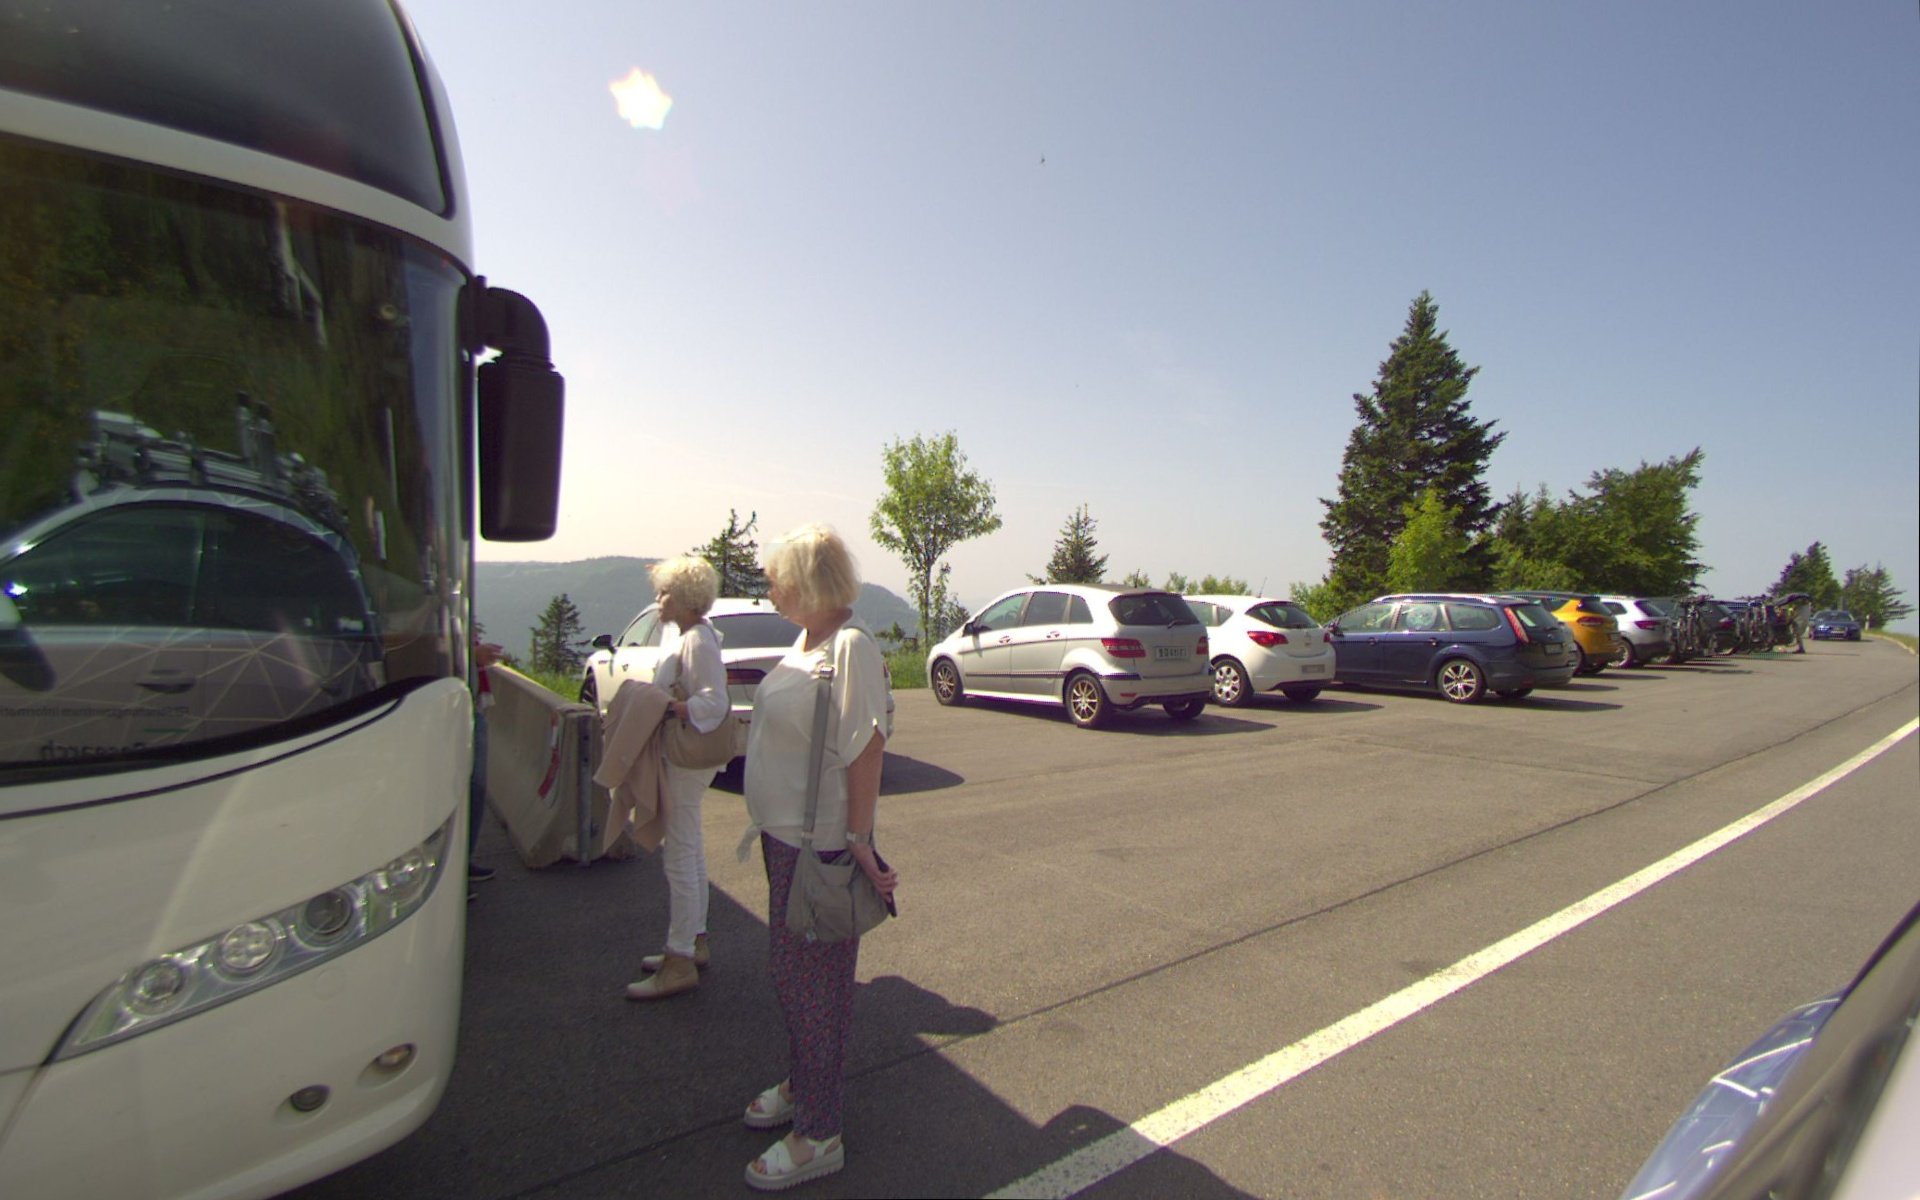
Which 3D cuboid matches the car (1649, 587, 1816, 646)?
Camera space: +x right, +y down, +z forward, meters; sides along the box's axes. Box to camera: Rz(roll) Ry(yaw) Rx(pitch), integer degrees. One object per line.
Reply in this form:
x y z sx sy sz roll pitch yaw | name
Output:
26.265 0.510 34.502 1.967 1.845 4.315 1 0 -44 | car

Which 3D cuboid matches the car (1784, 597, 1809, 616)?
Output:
94.257 0.666 114.099 1.989 2.039 3.946 1 1 37 | car

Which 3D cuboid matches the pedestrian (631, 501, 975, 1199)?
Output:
-0.388 0.592 2.789 0.733 1.663 0.706 0 0 12 | pedestrian

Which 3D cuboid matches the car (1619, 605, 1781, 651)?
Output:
21.979 0.811 30.146 1.538 1.285 3.701 2 -2 -44 | car

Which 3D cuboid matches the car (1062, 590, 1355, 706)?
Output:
3.446 0.604 14.706 1.733 1.438 3.999 0 0 -35 | car

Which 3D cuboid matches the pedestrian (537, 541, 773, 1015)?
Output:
-1.108 0.609 3.817 0.729 1.616 0.647 1 1 -8 | pedestrian

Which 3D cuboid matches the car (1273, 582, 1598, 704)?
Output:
6.972 0.545 15.212 1.641 1.563 4.141 1 0 -38 | car

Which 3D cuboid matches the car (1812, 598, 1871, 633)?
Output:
42.064 0.713 48.370 1.991 1.566 3.943 1 1 39 | car

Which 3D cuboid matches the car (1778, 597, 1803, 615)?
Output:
96.925 0.654 118.135 1.941 2.006 4.019 2 1 35 | car

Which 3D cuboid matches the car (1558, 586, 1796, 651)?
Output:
19.860 0.566 28.235 1.966 1.641 5.104 1 -3 -43 | car

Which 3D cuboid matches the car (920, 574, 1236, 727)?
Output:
1.302 0.524 12.679 1.733 1.594 3.999 0 0 -35 | car

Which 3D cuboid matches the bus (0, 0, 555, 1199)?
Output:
-5.416 -0.504 6.541 2.784 3.622 12.895 0 1 -33 | bus

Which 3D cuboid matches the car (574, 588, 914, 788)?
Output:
-2.264 0.614 9.495 1.685 1.414 4.440 0 0 -32 | car

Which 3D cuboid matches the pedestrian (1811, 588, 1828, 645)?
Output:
28.247 0.542 33.261 0.366 1.845 0.540 2 1 44 | pedestrian

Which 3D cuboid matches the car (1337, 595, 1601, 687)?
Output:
8.931 0.676 18.012 1.586 1.438 3.889 -1 0 -41 | car

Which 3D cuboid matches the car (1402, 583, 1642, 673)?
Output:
11.211 0.555 20.391 1.680 1.636 3.881 1 -2 -42 | car

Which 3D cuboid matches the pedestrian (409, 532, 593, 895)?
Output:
-2.321 0.516 5.105 0.730 1.663 0.646 1 1 -33 | pedestrian

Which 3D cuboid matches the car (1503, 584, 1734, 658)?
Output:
15.924 0.523 24.634 1.723 1.639 4.421 1 -2 -44 | car

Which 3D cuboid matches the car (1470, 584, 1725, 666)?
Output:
14.097 0.519 22.573 1.980 1.647 4.478 1 -1 -44 | car

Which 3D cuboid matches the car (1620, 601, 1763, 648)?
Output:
23.698 0.760 32.844 3.668 1.368 1.713 1 0 40 | car
